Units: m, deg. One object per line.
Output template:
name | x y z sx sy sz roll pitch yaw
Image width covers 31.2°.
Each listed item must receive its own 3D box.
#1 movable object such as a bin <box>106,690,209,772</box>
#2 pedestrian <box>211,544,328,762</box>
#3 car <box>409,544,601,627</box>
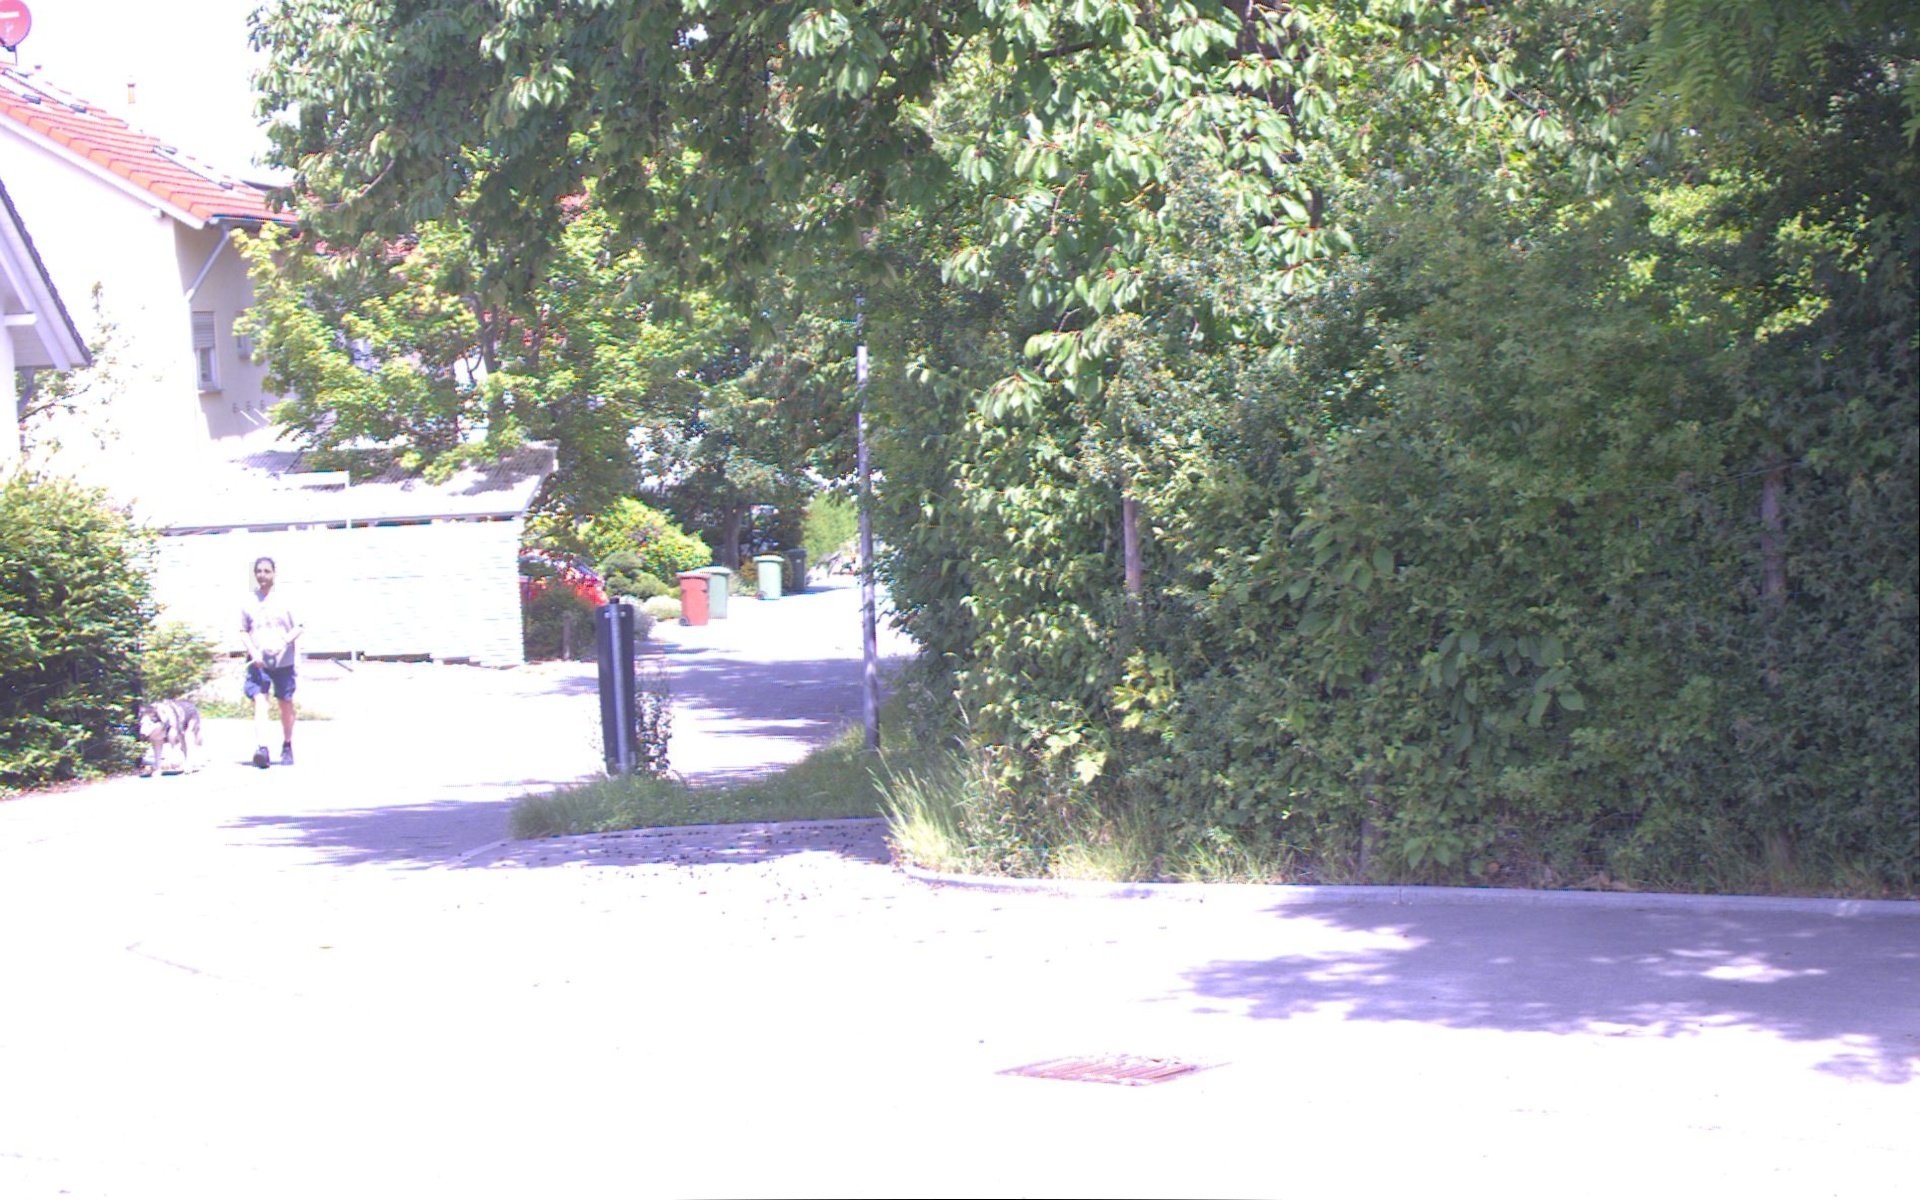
movable object such as a bin | -6.505 1.054 27.882 0.548 0.626 1.021 -1 -1 3
pedestrian | -5.890 0.461 29.370 0.846 1.814 0.835 -1 -2 -3
car | -8.322 -0.278 62.850 3.414 1.415 1.587 0 3 -8
